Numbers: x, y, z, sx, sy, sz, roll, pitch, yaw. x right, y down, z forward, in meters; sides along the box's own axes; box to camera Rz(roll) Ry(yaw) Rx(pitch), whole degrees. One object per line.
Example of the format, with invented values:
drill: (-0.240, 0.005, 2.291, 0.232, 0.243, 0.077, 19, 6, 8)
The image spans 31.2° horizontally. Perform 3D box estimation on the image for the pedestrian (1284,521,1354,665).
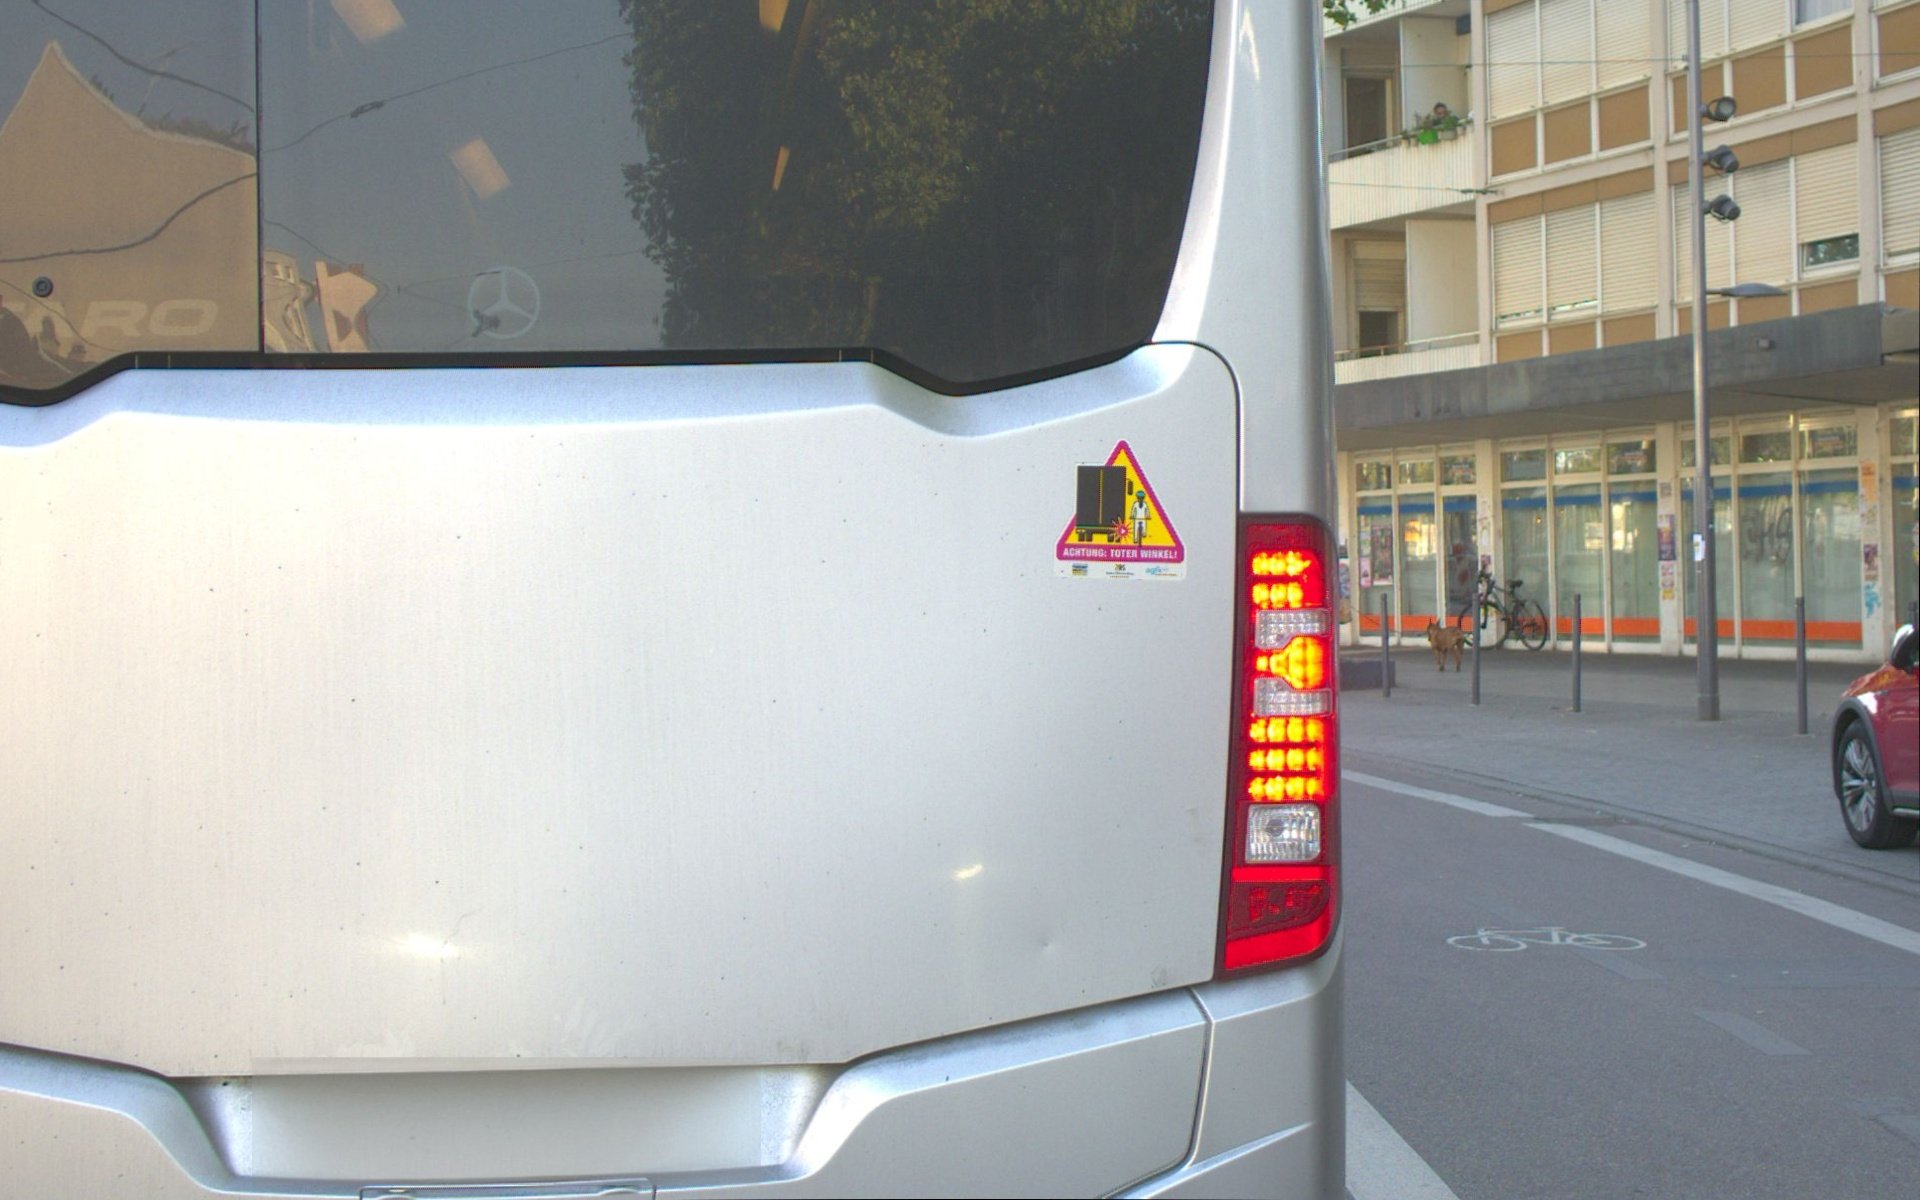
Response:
pedestrian: (4.336, -0.088, 41.542, 0.645, 1.711, 0.560, -1, 1, -16)

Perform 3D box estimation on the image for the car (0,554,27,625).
car: (-25.736, -0.294, 88.026, 1.994, 1.785, 3.998, 1, 0, -41)

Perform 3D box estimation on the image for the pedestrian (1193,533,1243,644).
pedestrian: (3.871, -0.173, 51.635, 0.535, 1.643, 0.616, -1, 1, -17)

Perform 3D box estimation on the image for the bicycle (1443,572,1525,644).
bicycle: (6.988, 0.103, 45.906, 0.412, 0.941, 1.441, -1, 1, -20)

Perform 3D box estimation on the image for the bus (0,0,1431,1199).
bus: (-0.723, -0.139, 9.808, 2.630, 3.017, 9.998, 0, 1, -1)

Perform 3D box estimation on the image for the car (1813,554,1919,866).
car: (5.518, 0.511, 15.863, 1.769, 1.477, 4.304, -2, 1, -4)
